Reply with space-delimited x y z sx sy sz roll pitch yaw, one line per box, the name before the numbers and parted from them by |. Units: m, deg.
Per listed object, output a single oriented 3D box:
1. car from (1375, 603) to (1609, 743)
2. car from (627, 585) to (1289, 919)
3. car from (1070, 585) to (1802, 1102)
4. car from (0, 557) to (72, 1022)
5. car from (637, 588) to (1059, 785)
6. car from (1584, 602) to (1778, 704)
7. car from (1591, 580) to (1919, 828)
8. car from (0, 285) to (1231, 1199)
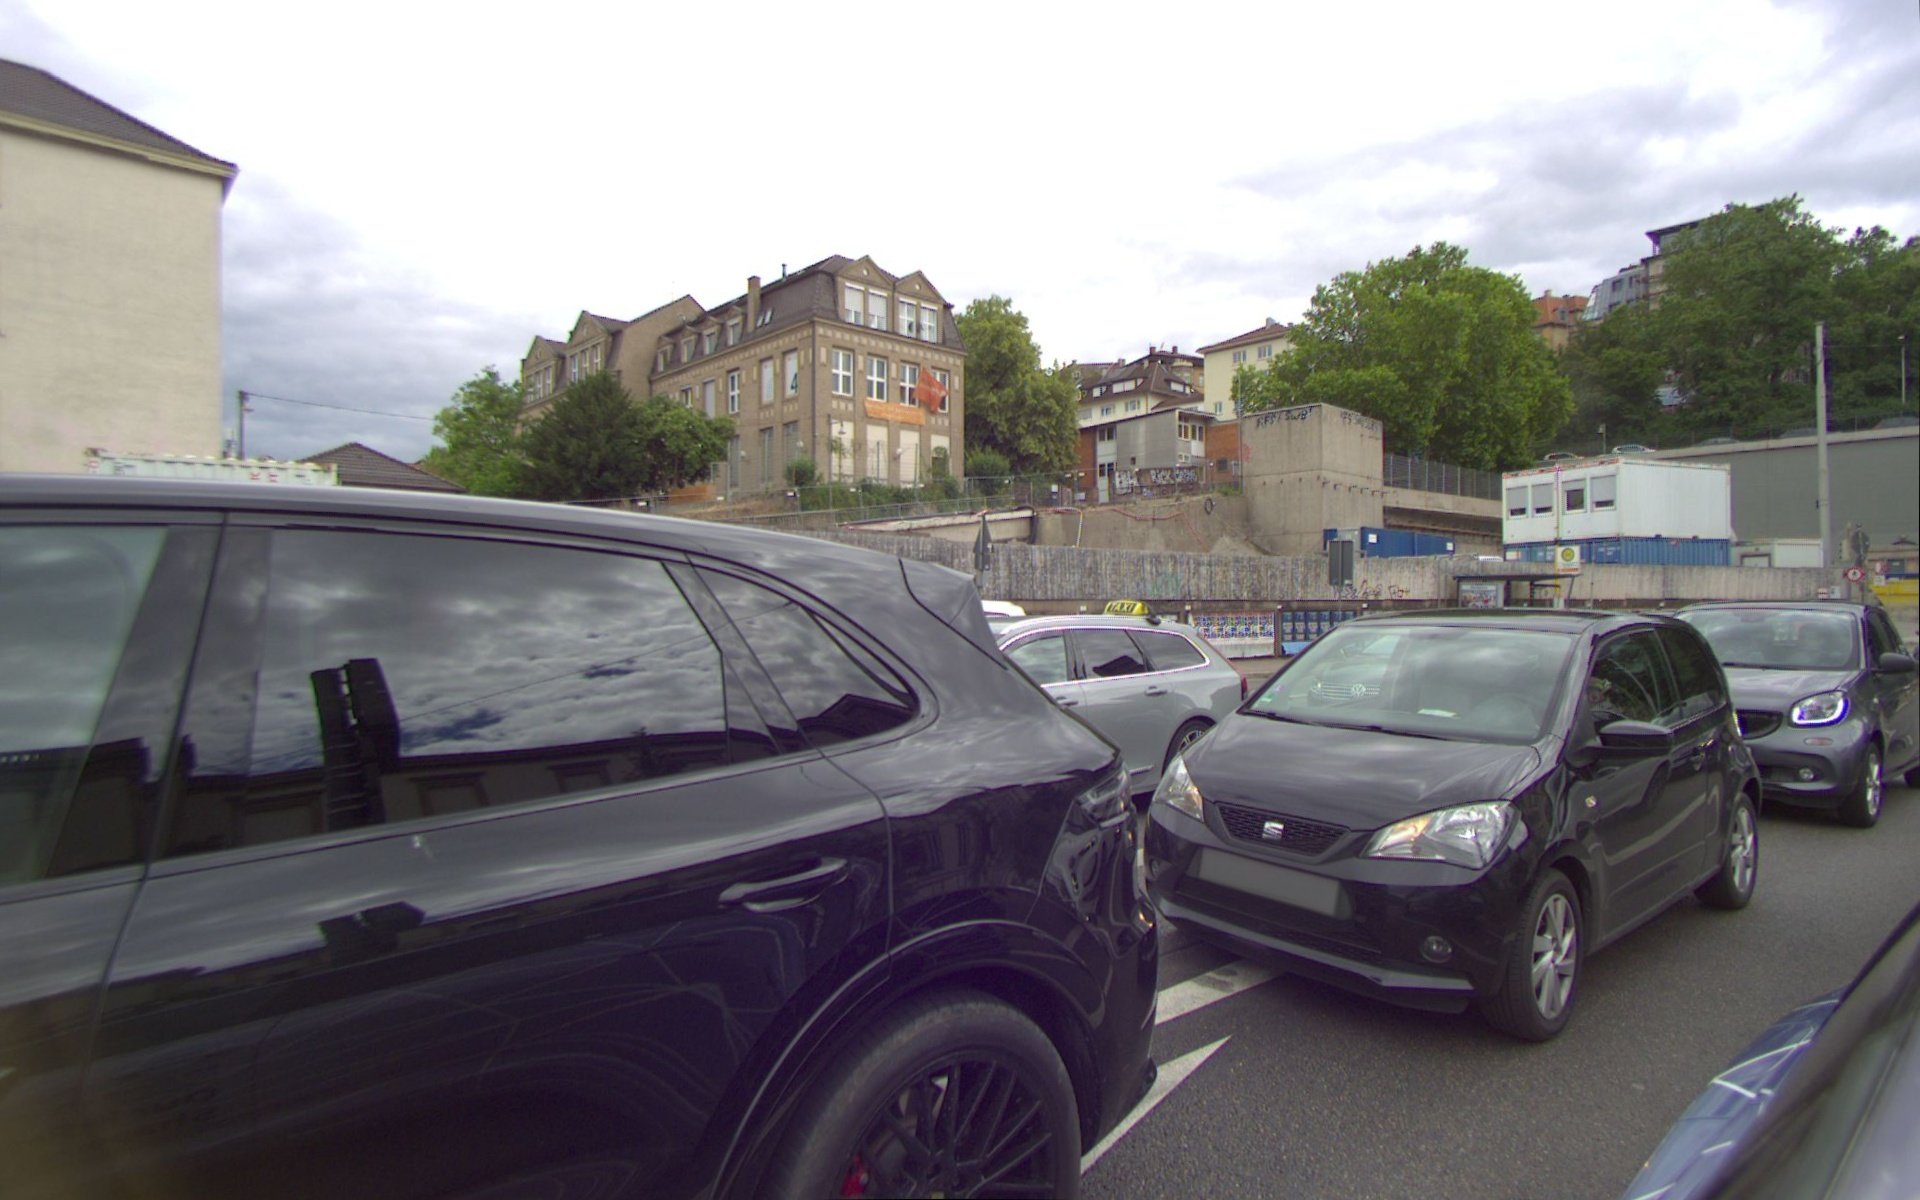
car | 6.492 0.778 12.299 2.667 1.449 1.664 -1 0 -41
car | 0.265 0.728 7.262 4.725 1.645 1.827 -1 0 -41
car | 2.432 0.675 4.792 3.636 1.476 1.827 -1 0 -41
car | -5.308 0.686 3.039 3.930 1.645 1.679 -1 0 -41
car | -1.012 0.704 10.479 4.136 1.645 1.679 -1 0 -41
car | 11.502 0.743 16.057 3.740 1.383 1.679 -1 0 -41
car | 6.704 0.657 8.186 3.511 1.563 1.720 0 0 -40
car | -1.626 0.557 1.601 4.406 1.736 1.827 -1 0 -41
